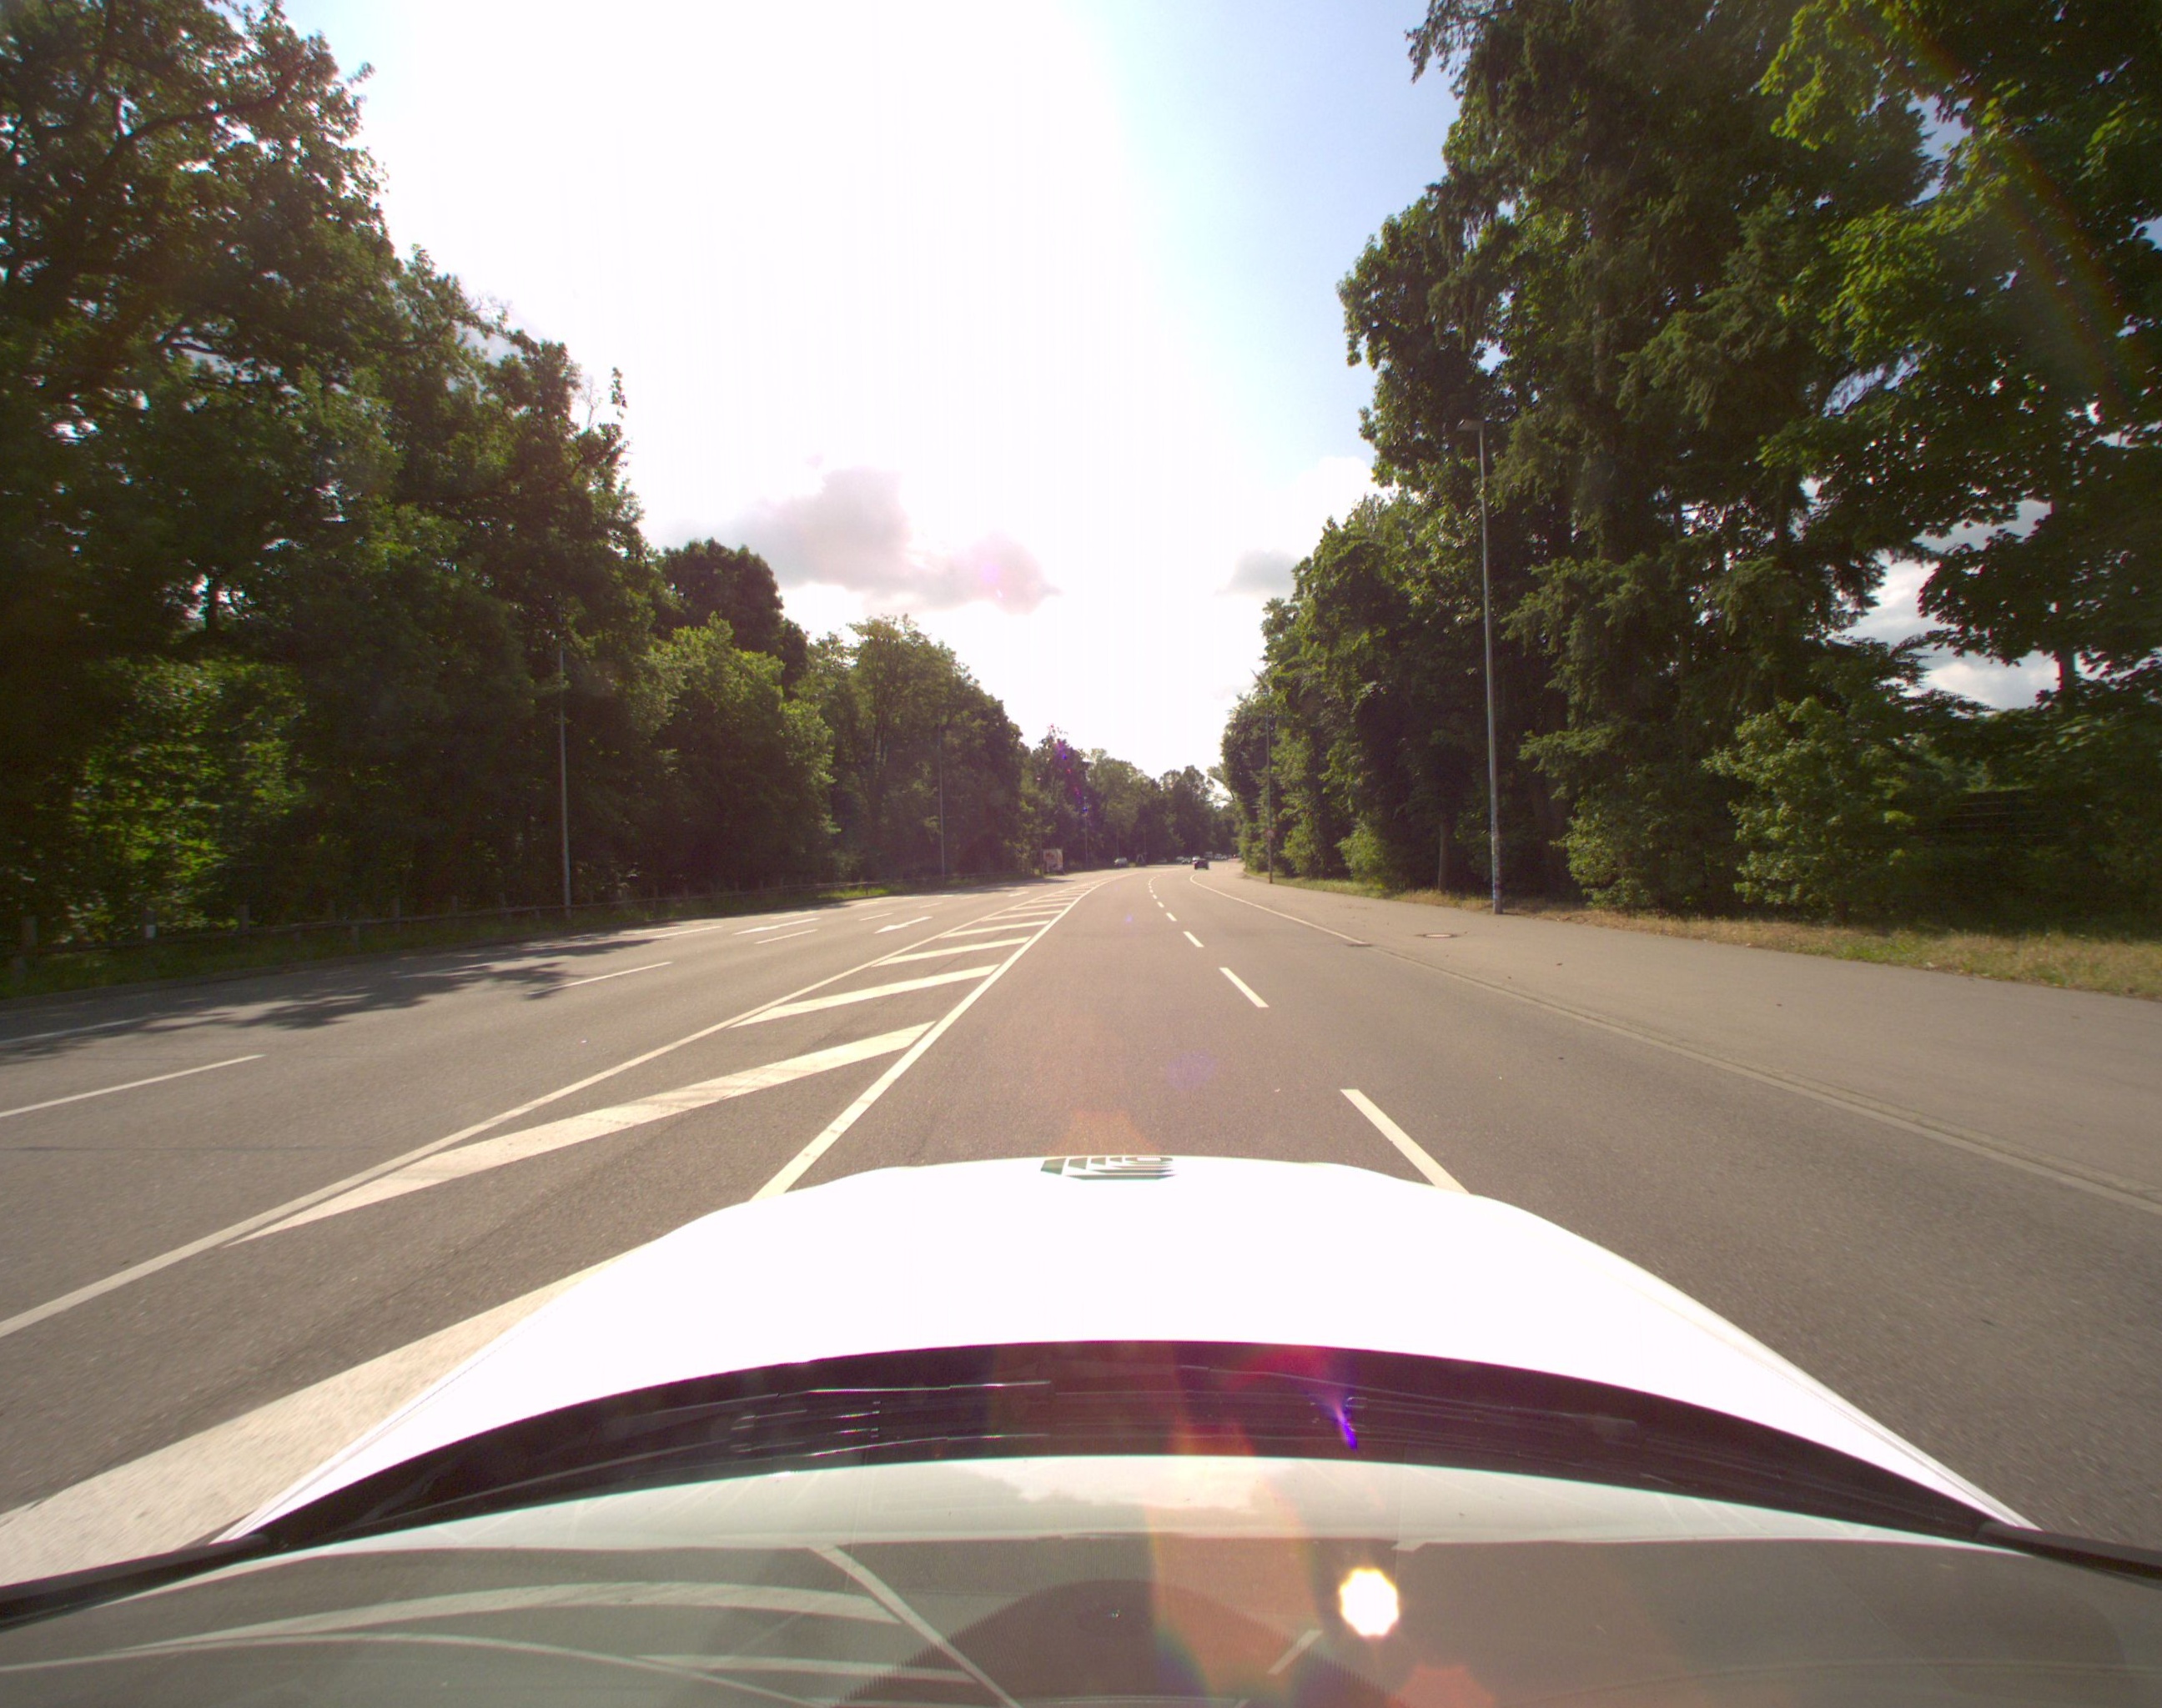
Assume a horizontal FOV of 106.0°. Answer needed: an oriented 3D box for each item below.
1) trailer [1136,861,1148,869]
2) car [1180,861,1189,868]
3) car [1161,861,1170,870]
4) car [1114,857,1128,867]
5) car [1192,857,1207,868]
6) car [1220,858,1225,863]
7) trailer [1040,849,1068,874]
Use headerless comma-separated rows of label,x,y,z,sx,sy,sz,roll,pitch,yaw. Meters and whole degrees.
trailer,11.143,1.968,149.061,1.704,1.355,3.745,-1,-1,13
car,22.001,2.127,173.104,1.492,1.446,3.543,-1,-1,14
car,18.345,2.514,176.547,1.912,1.855,4.007,-1,-1,7
car,6.250,1.218,126.632,1.492,1.446,3.543,-1,-1,14
car,16.058,1.138,110.184,1.586,1.378,3.990,-1,-1,14
car,42.463,1.843,244.617,1.493,1.446,3.541,-1,-1,12
trailer,-2.569,0.715,78.413,1.982,2.389,4.010,-1,-1,9
